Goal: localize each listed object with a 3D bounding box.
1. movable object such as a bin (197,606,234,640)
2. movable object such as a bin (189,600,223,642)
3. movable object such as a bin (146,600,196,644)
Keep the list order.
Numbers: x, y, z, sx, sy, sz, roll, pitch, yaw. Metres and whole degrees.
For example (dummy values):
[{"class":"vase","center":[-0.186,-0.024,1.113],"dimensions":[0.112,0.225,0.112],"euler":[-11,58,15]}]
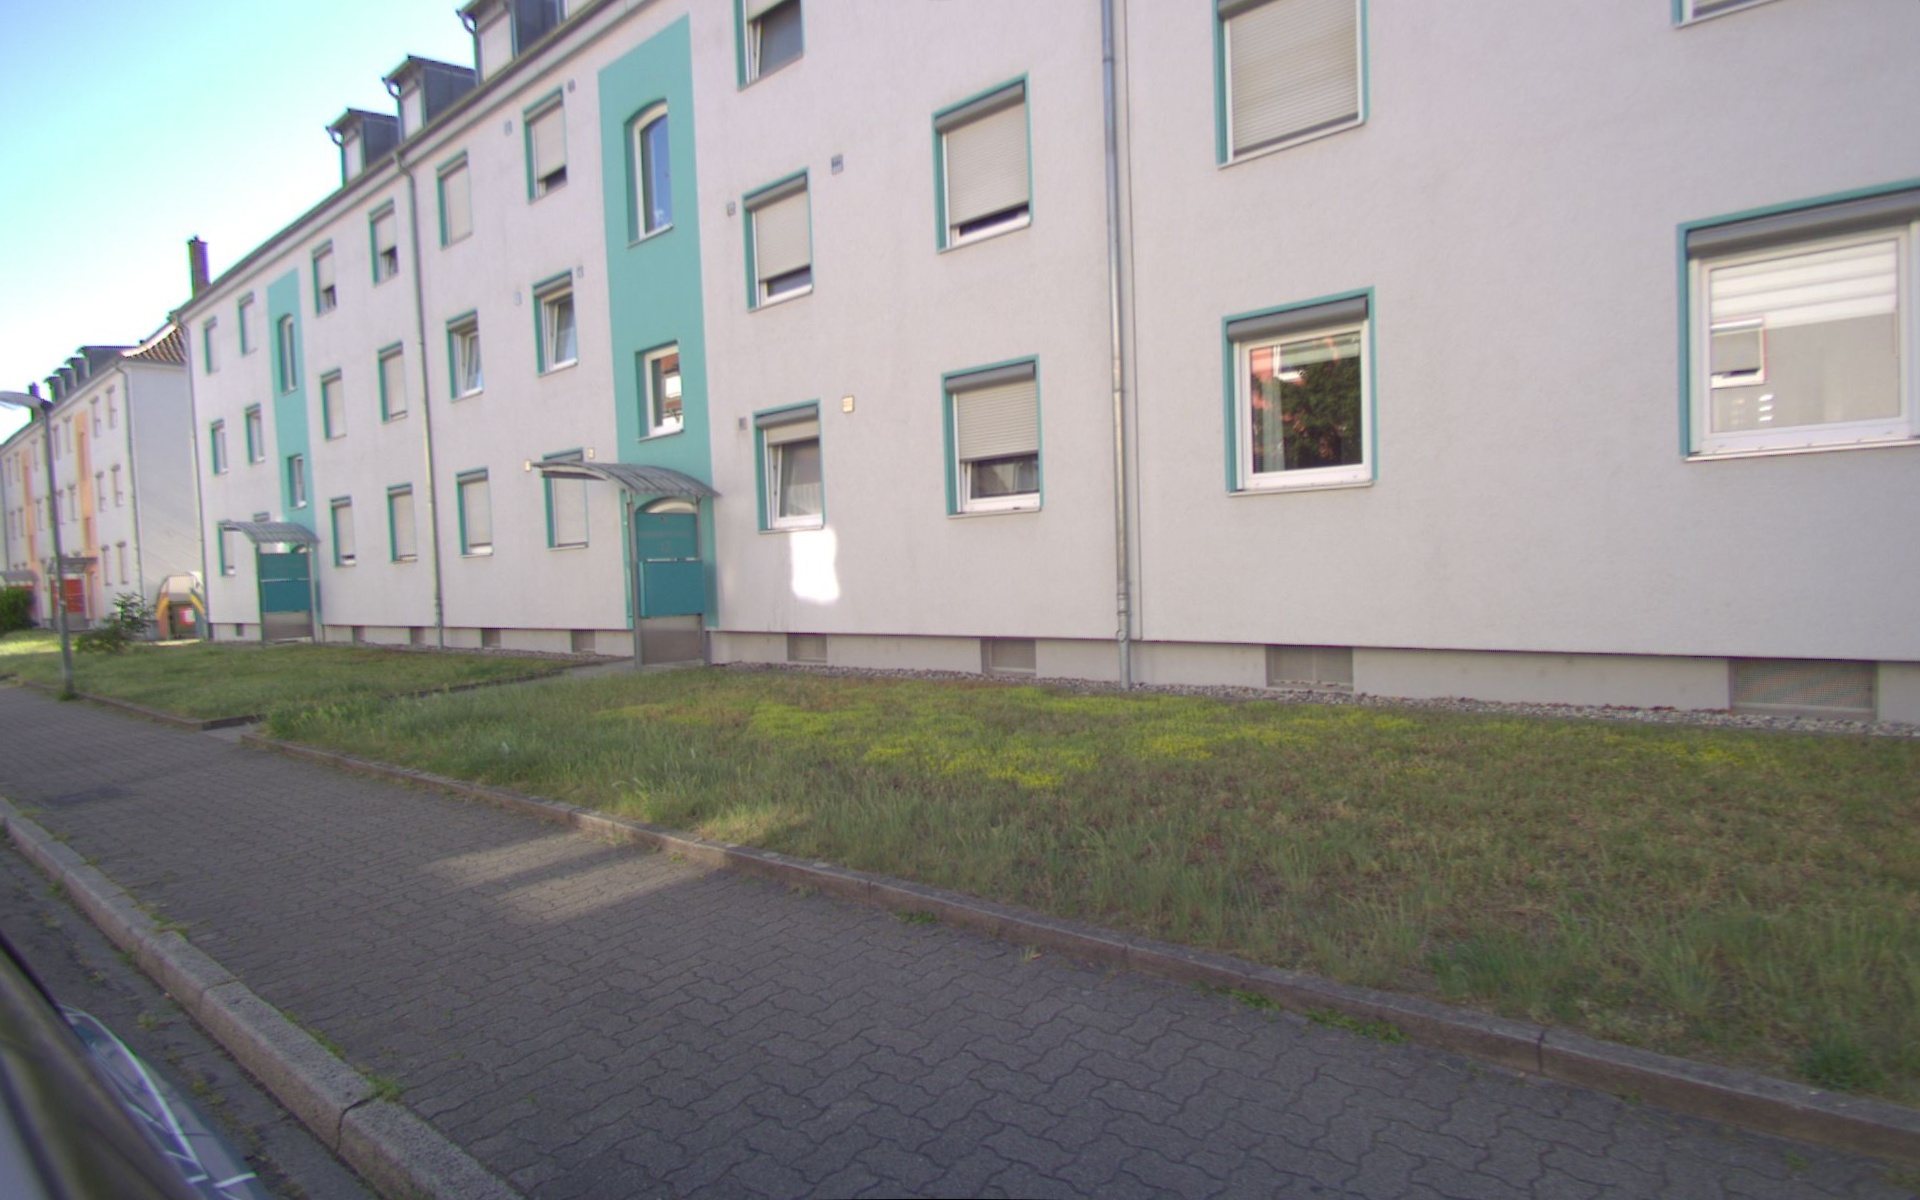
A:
[{"class":"movable object such as a bin","center":[-23.253,0.722,31.614],"dimensions":[0.762,1.020,0.744],"euler":[-1,2,40]},{"class":"movable object such as a bin","center":[-26.461,0.728,35.521],"dimensions":[0.762,1.403,0.744],"euler":[-1,2,40]},{"class":"movable object such as a bin","center":[-27.085,0.751,34.746],"dimensions":[0.877,1.403,1.152],"euler":[-1,2,40]}]
